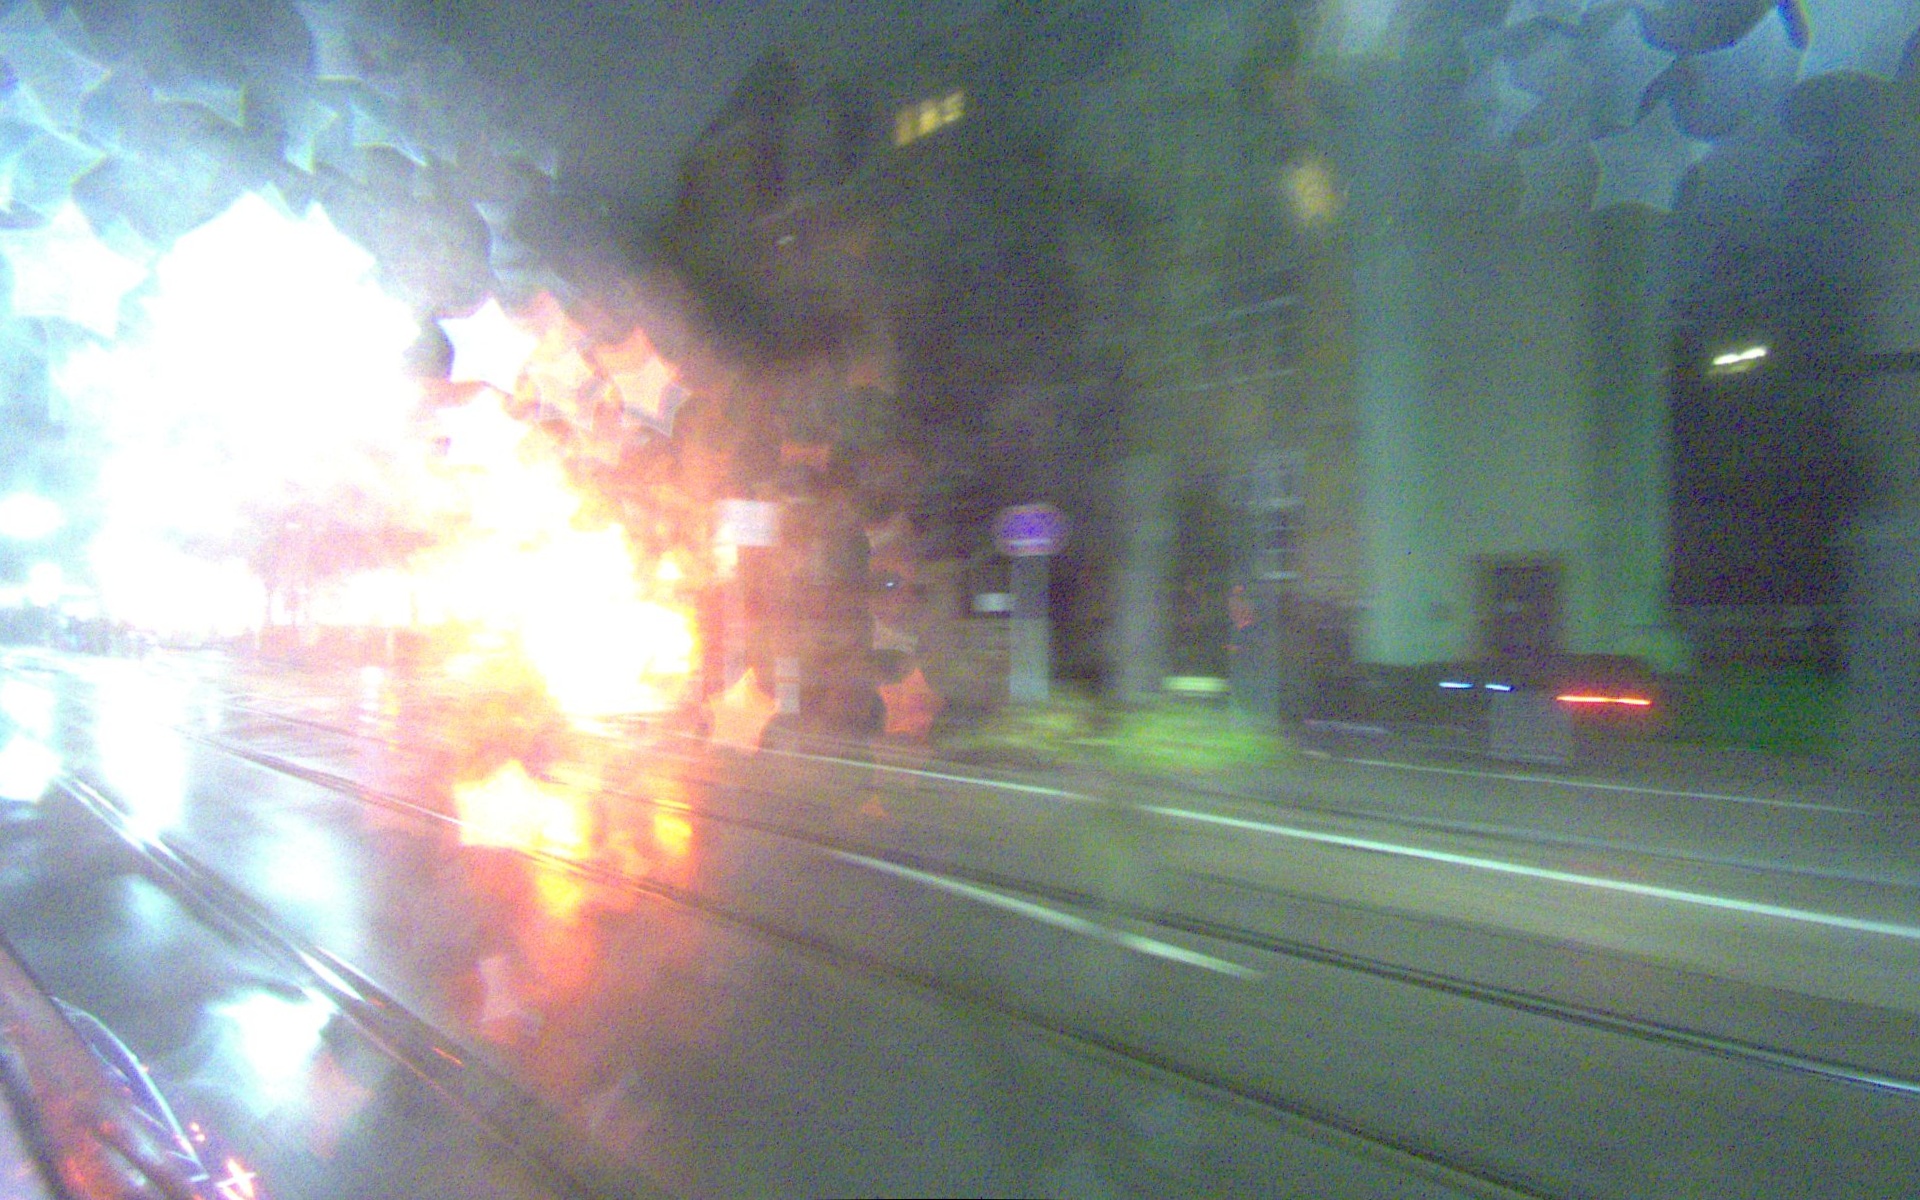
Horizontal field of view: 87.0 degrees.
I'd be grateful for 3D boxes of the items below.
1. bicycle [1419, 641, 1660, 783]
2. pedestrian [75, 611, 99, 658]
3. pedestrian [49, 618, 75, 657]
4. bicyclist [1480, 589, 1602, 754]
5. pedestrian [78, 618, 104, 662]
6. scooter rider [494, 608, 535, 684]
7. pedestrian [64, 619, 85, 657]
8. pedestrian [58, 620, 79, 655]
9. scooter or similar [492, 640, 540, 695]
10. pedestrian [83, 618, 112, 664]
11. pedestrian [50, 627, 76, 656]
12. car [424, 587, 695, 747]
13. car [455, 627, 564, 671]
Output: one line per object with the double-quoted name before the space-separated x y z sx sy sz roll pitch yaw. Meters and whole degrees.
"bicycle" 5.509 1.012 9.713 0.647 1.150 1.899 -2 2 -45
"pedestrian" -37.755 1.487 43.779 0.858 2.001 0.601 0 1 39
"pedestrian" -39.631 1.656 44.658 0.552 1.664 0.585 -1 1 -1
"bicyclist" 5.545 0.640 9.664 0.647 1.476 0.868 -2 1 -45
"pedestrian" -36.553 1.683 42.567 0.671 1.787 0.707 0 1 45
"scooter rider" -9.639 0.978 21.881 0.632 1.585 0.654 -2 1 -37
"pedestrian" -38.996 1.652 44.582 0.525 1.641 0.400 -1 1 -1
"pedestrian" -40.737 1.712 46.255 0.583 1.539 0.476 -1 1 25
"scooter or similar" -9.609 1.435 21.864 0.632 1.060 1.372 -2 1 -37
"pedestrian" -34.988 1.652 41.064 0.715 1.787 0.664 -1 1 32
"pedestrian" -40.143 1.851 45.310 0.615 1.263 0.585 -1 1 -1
"car" -5.721 0.839 14.150 1.873 1.883 4.539 2 -2 -44
"car" -17.203 1.825 38.788 1.910 1.527 3.575 0 0 19
